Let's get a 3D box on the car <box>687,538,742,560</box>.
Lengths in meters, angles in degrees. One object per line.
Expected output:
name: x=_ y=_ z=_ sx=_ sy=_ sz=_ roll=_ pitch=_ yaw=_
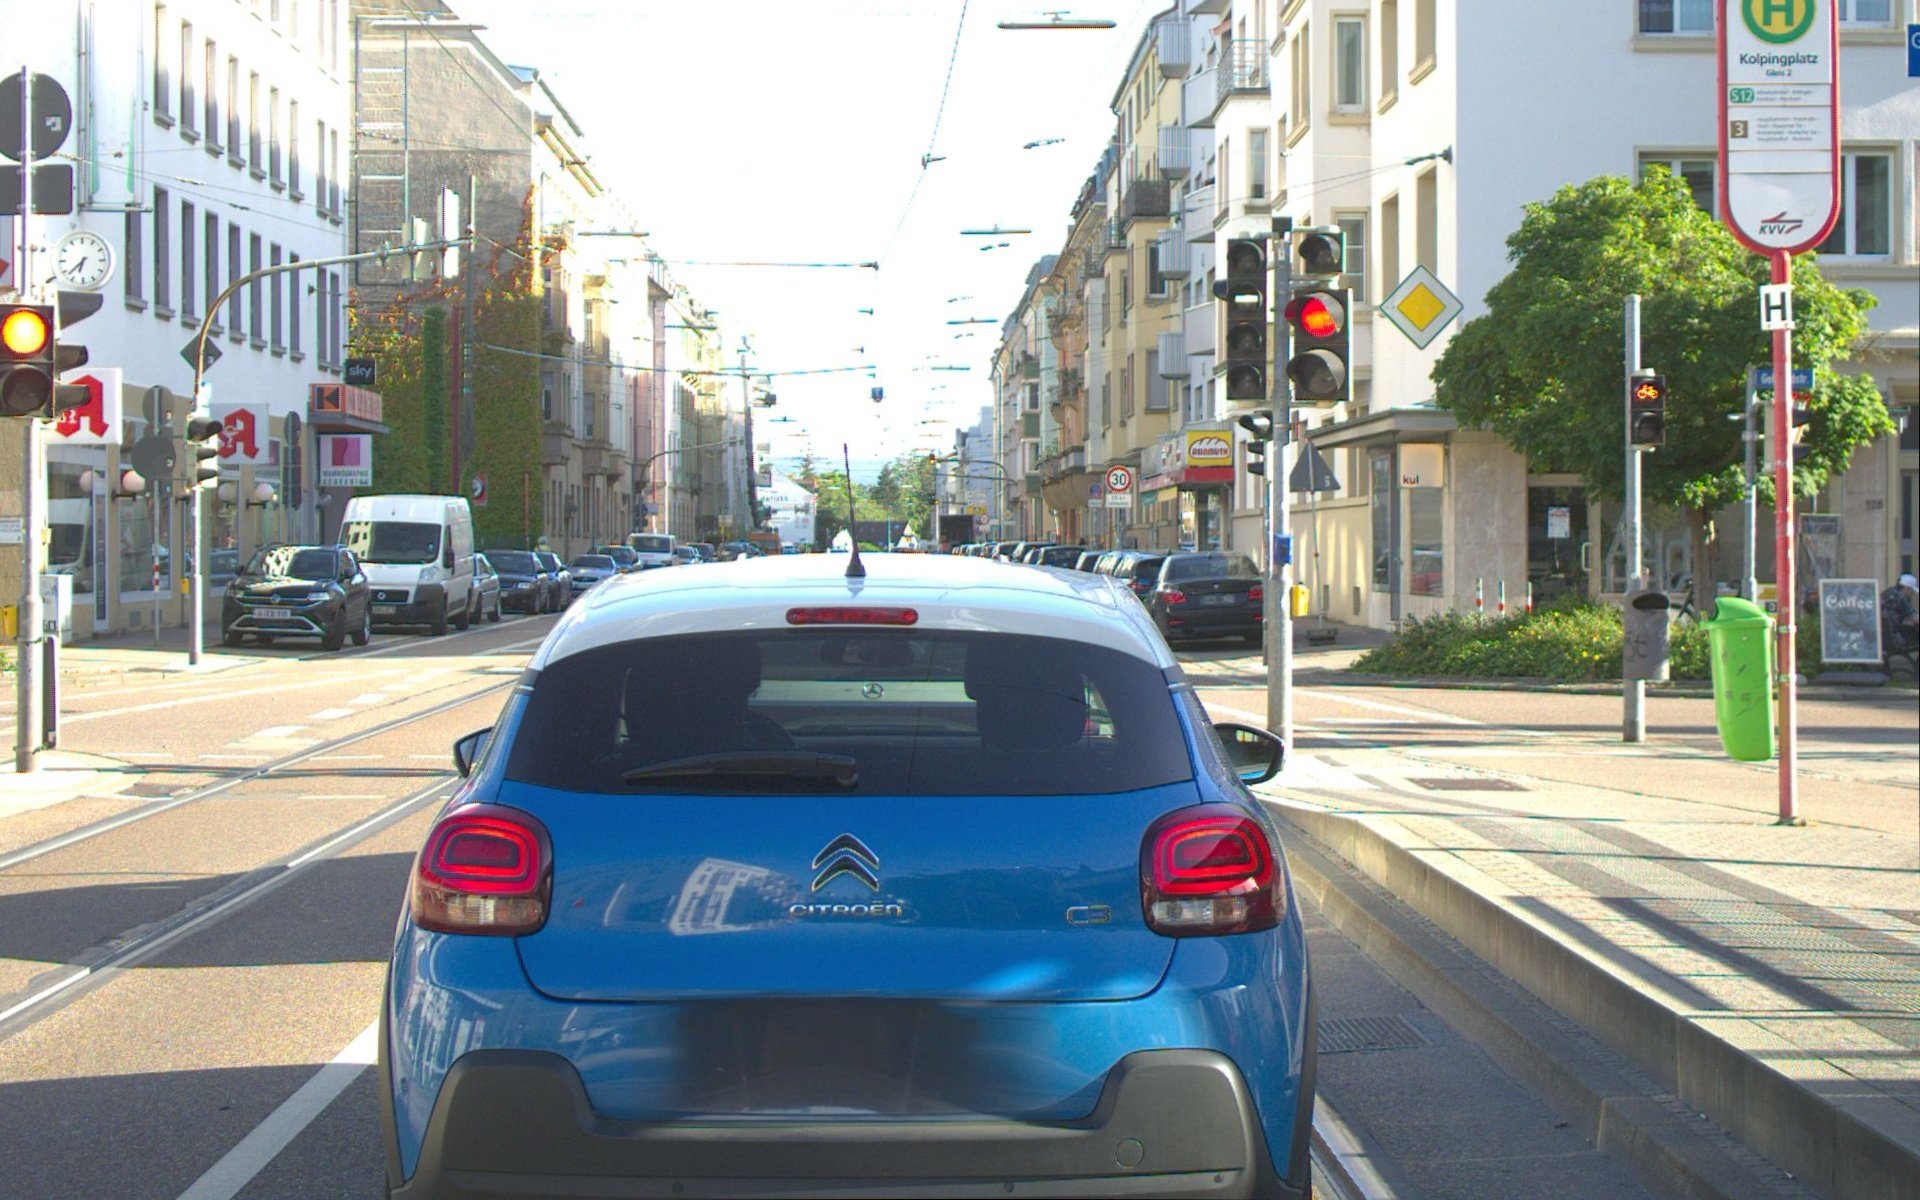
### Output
car: x=-13.202 y=-2.757 z=184.831 sx=1.994 sy=1.152 sz=4.513 roll=0 pitch=1 yaw=9

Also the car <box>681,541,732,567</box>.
car: x=-11.334 y=-2.056 z=154.024 sx=1.993 sy=1.152 sz=4.000 roll=0 pitch=1 yaw=0

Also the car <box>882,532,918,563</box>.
car: x=-3.390 y=-2.971 z=194.007 sx=1.993 sy=1.766 sz=4.000 roll=0 pitch=1 yaw=-1

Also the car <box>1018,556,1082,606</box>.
car: x=2.855 y=-0.610 z=109.180 sx=1.993 sy=1.546 sz=4.000 roll=0 pitch=1 yaw=1

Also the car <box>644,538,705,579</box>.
car: x=-11.332 y=-1.635 z=136.637 sx=1.955 sy=1.547 sz=3.938 roll=1 pitch=0 yaw=2

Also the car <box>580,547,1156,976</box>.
car: x=-0.355 y=0.527 z=14.399 sx=1.984 sy=1.459 sz=4.816 roll=1 pitch=1 yaw=-1

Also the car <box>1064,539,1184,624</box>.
car: x=2.968 y=-0.363 z=62.939 sx=1.993 sy=1.496 sz=4.000 roll=0 pitch=1 yaw=0

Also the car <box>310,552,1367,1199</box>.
car: x=-0.231 y=0.654 z=7.592 sx=1.728 sy=1.477 sz=3.827 roll=1 pitch=1 yaw=-1

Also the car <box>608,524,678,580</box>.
car: x=-11.665 y=-1.757 z=126.719 sx=2.006 sy=2.007 sz=4.689 roll=1 pitch=0 yaw=1

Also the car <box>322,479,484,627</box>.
car: x=-10.091 y=-0.859 z=62.776 sx=2.085 sy=2.533 sz=6.206 roll=1 pitch=1 yaw=-2

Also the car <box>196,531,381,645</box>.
car: x=-10.179 y=-0.200 z=52.422 sx=1.993 sy=1.563 sz=4.403 roll=3 pitch=0 yaw=-2

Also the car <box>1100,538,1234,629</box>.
car: x=3.404 y=-0.288 z=57.139 sx=1.993 sy=1.459 sz=4.000 roll=0 pitch=1 yaw=0

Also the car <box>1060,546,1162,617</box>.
car: x=3.191 y=-0.410 z=73.210 sx=1.993 sy=1.459 sz=4.000 roll=0 pitch=1 yaw=0

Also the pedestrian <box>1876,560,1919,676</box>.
pedestrian: x=10.856 y=0.201 z=39.128 sx=0.741 sy=1.311 sz=0.627 roll=0 pitch=1 yaw=23

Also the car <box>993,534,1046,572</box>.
car: x=2.298 y=-1.837 z=133.174 sx=1.993 sy=1.459 sz=4.000 roll=0 pitch=1 yaw=0

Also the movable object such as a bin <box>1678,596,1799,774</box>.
movable object such as a bin: x=3.505 y=0.378 z=15.501 sx=0.449 sy=0.783 sz=0.489 roll=0 pitch=1 yaw=2

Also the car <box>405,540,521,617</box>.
car: x=-10.023 y=-0.436 z=69.539 sx=1.888 sy=1.491 sz=3.562 roll=1 pitch=0 yaw=-2

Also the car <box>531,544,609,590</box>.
car: x=-11.688 y=-0.987 z=103.217 sx=1.993 sy=1.320 sz=3.923 roll=1 pitch=0 yaw=-2

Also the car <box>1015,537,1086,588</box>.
car: x=2.675 y=-1.121 z=102.065 sx=1.993 sy=1.459 sz=4.504 roll=0 pitch=1 yaw=0

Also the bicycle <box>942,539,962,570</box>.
bicycle: x=-0.367 y=-2.053 z=154.695 sx=0.920 sy=1.384 sz=3.132 roll=0 pitch=1 yaw=0

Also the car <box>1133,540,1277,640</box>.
car: x=3.694 y=-0.180 z=52.446 sx=1.909 sy=1.459 sz=4.000 roll=0 pitch=1 yaw=0

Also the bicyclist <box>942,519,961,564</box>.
bicyclist: x=-0.368 y=-2.643 z=154.733 sx=0.809 sy=2.007 sz=0.922 roll=1 pitch=0 yaw=0

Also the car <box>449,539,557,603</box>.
car: x=-10.355 y=-0.661 z=78.071 sx=1.993 sy=1.393 sz=4.157 roll=1 pitch=0 yaw=-2
